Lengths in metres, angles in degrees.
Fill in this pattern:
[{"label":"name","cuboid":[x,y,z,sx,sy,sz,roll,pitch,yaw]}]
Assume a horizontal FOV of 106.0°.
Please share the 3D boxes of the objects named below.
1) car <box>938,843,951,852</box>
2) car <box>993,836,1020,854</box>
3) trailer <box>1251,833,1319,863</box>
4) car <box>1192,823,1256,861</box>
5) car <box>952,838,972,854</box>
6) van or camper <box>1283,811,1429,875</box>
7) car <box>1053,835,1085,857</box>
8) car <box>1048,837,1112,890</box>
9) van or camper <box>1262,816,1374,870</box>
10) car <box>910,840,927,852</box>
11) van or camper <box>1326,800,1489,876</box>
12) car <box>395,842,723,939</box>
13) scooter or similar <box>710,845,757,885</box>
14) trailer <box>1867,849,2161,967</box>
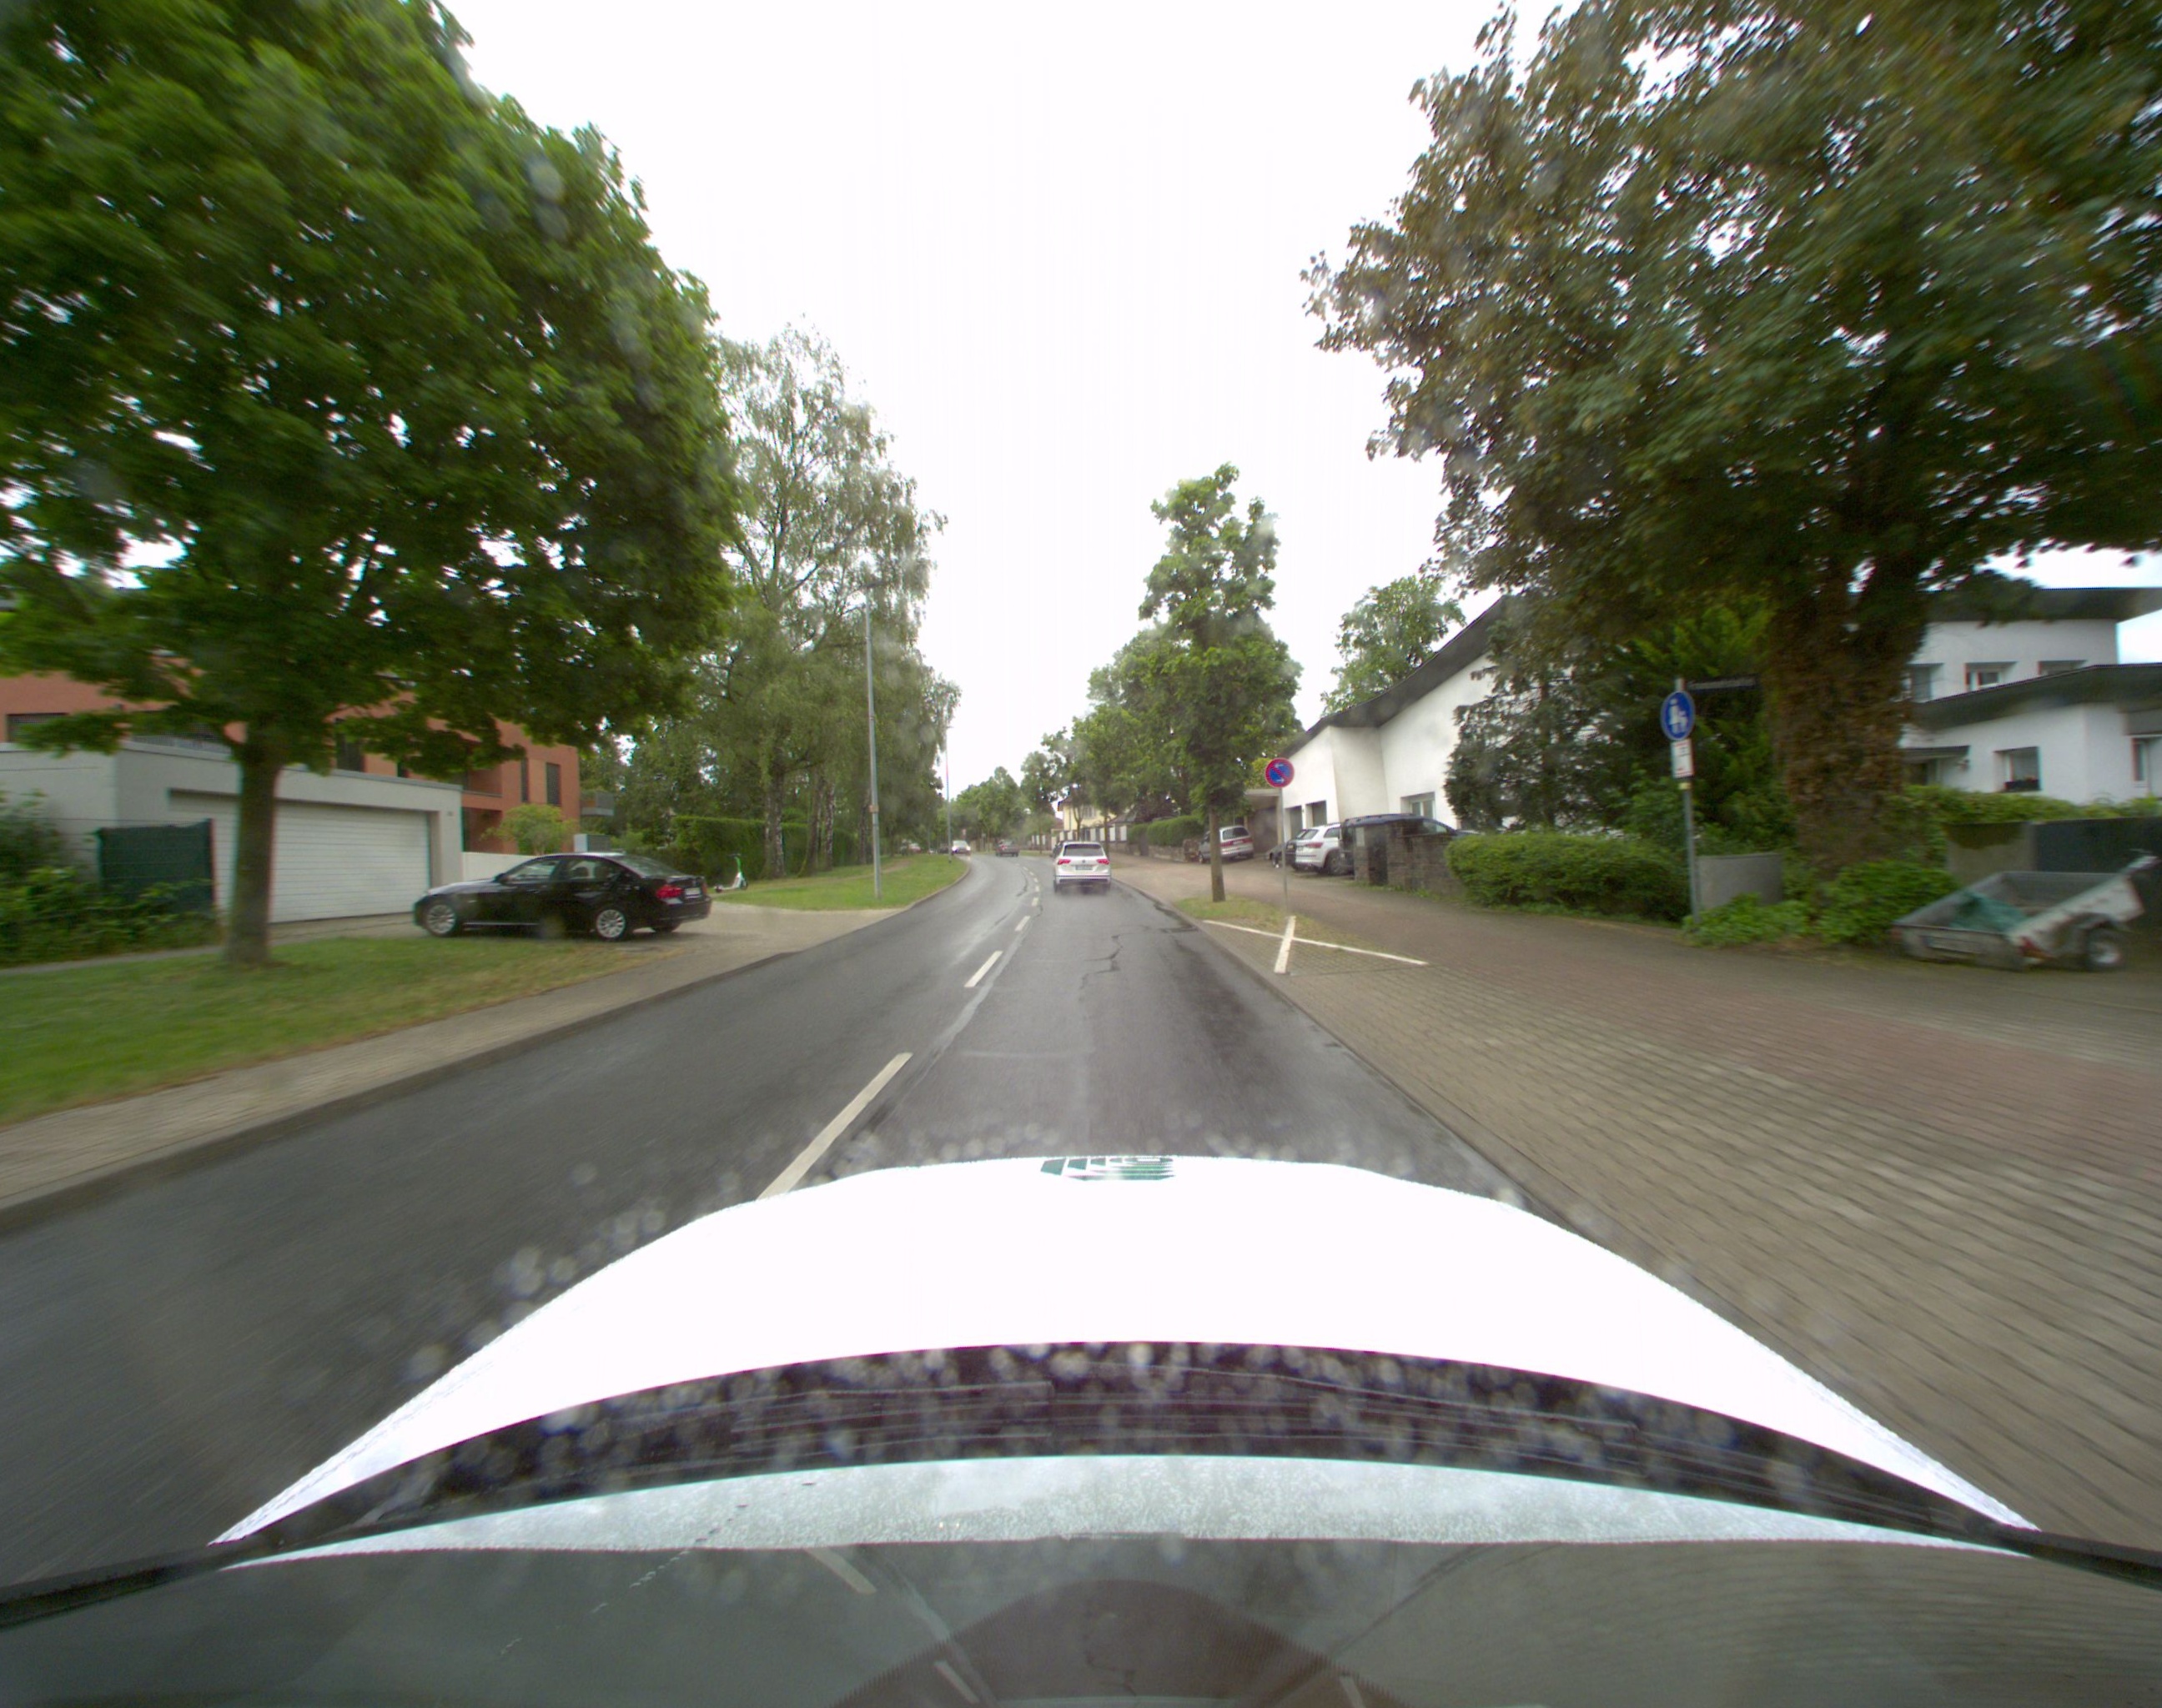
[{"label":"car","cuboid":[-22.706,-1.136,134.945,1.854,1.417,4.207,0,2,-13]},{"label":"car","cuboid":[-6.644,-0.821,72.010,1.843,1.486,3.983,0,2,-13]},{"label":"trailer","cuboid":[8.165,-0.238,32.853,1.419,0.921,3.266,-10,1,-8]},{"label":"car","cuboid":[7.164,-0.620,41.193,1.792,1.757,4.931,-2,1,-7]},{"label":"car","cuboid":[-11.373,-0.750,77.840,1.754,1.440,4.144,0,1,-10]},{"label":"van or camper","cuboid":[9.005,-0.365,26.923,3.979,1.677,2.121,-6,1,-4]},{"label":"car","cuboid":[-0.894,-0.588,58.811,1.642,1.377,3.815,-4,2,-11]},{"label":"car","cuboid":[-0.002,0.255,27.559,1.990,1.632,4.000,-1,1,0]},{"label":"van or camper","cuboid":[8.530,-0.395,29.470,3.401,1.555,1.764,-6,1,-9]},{"label":"car","cuboid":[-21.723,-1.090,108.626,1.847,1.466,4.227,-2,0,-16]},{"label":"van or camper","cuboid":[9.722,-0.481,24.471,4.002,1.788,1.947,-6,1,-1]},{"label":"car","cuboid":[-8.726,0.576,13.896,4.412,1.417,1.756,2,0,0]},{"label":"scooter or similar","cuboid":[-10.679,0.330,25.062,0.420,1.158,1.498,0,1,20]},{"label":"trailer","cuboid":[9.280,0.475,7.841,2.166,0.958,1.271,-2,1,2]}]
